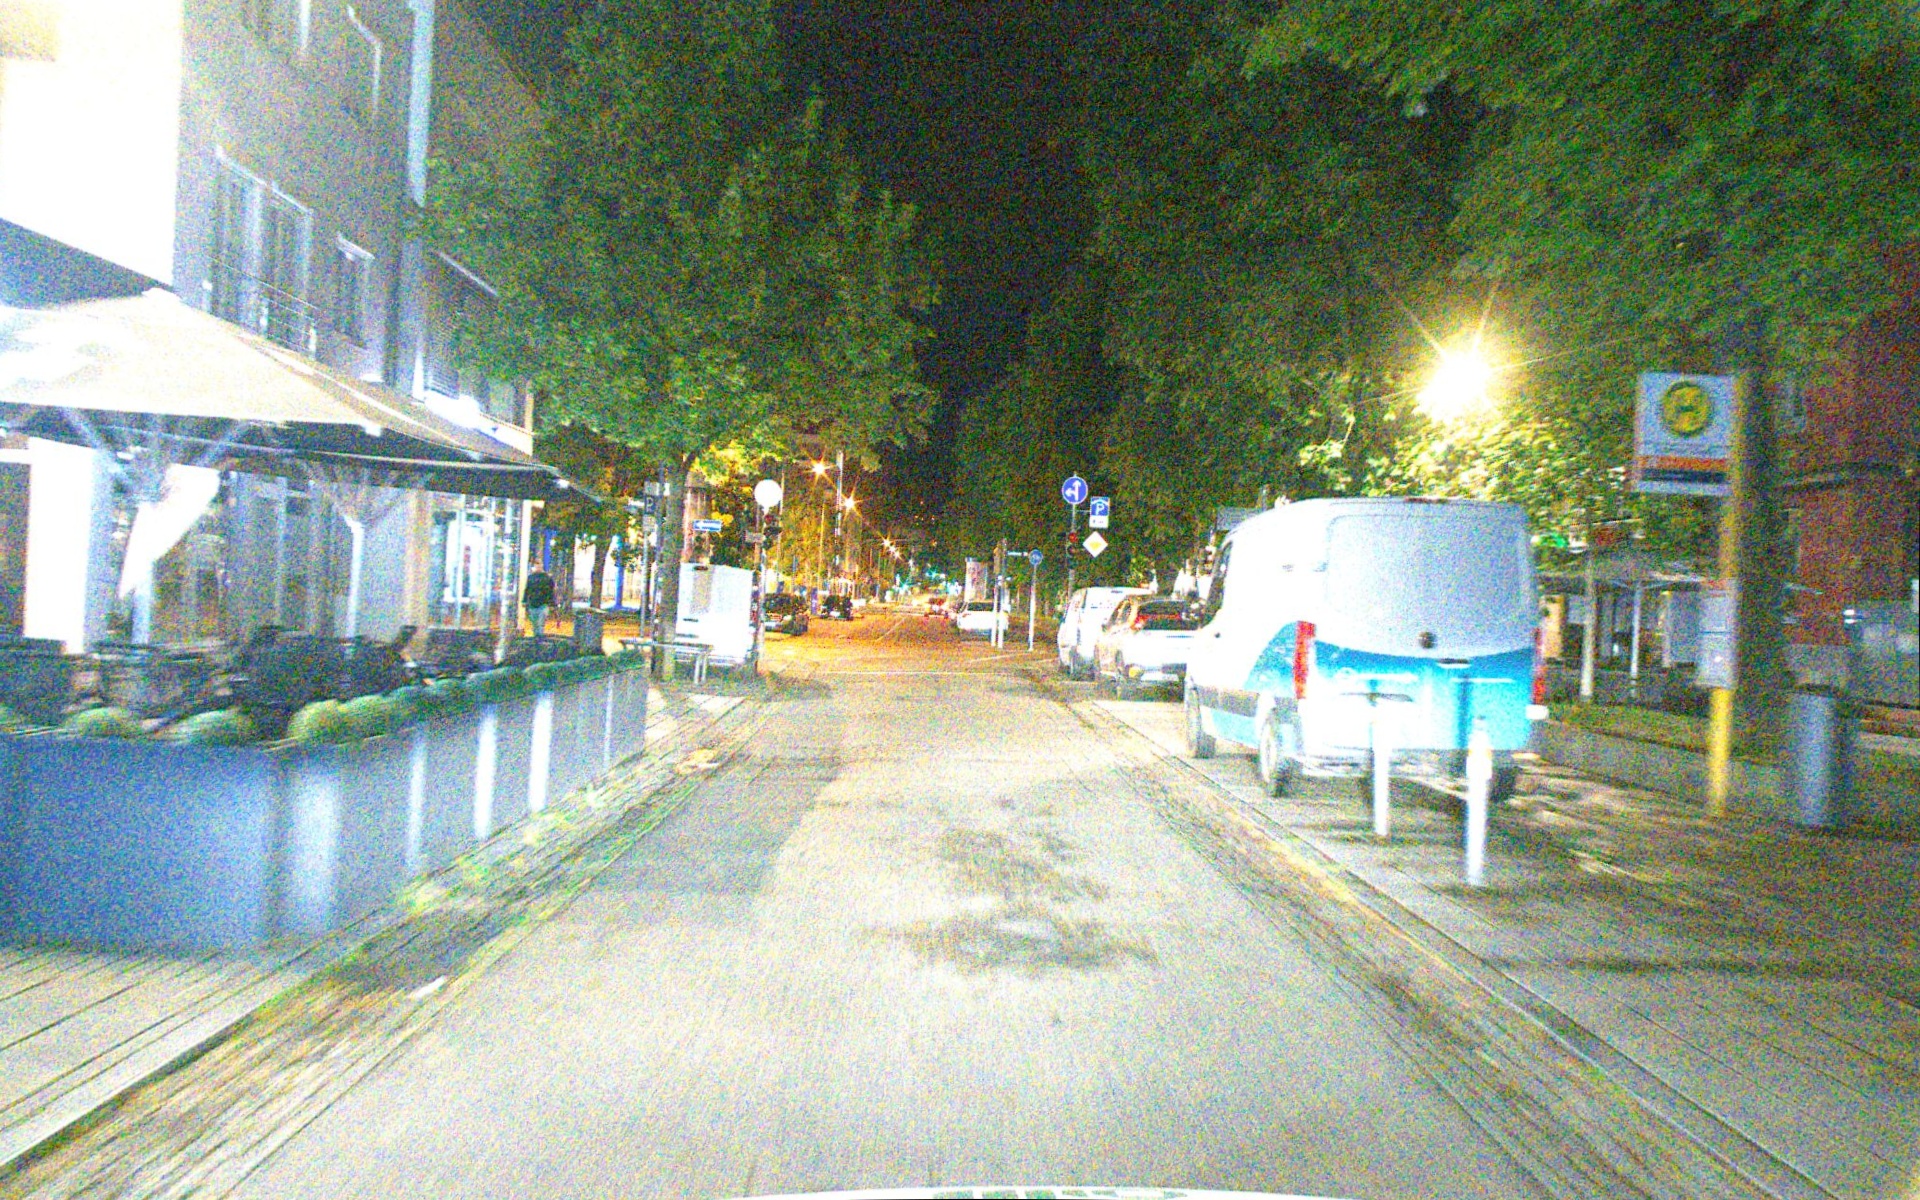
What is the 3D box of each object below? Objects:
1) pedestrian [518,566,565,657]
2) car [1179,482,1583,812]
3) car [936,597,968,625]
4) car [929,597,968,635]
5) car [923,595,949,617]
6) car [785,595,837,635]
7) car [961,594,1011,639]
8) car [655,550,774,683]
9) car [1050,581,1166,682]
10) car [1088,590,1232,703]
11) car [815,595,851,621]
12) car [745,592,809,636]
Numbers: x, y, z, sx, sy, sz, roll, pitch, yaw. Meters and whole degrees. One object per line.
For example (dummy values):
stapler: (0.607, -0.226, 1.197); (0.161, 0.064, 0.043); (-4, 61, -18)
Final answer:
pedestrian: (-8.268, 0.216, 32.722); (0.655, 1.749, 0.908); (2, 0, -1)
car: (3.456, 0.344, 14.781); (2.091, 2.367, 5.150); (2, 0, -2)
car: (-0.435, 0.611, 93.350); (1.728, 1.439, 4.807); (2, 0, 0)
car: (-0.520, 0.691, 73.764); (1.655, 1.563, 4.015); (2, 0, 0)
car: (-1.908, 0.472, 129.069); (1.953, 1.672, 3.999); (2, 0, -1)
car: (-6.073, 0.605, 67.658); (1.687, 1.453, 3.976); (4, 0, -1)
car: (0.939, 0.586, 60.928); (1.734, 1.563, 4.216); (1, 0, 0)
car: (-4.464, 0.269, 30.682); (1.817, 2.123, 5.084); (4, 0, -6)
car: (2.924, 0.589, 33.533); (1.753, 1.854, 4.578); (2, 0, -2)
car: (3.241, 0.707, 27.555); (1.650, 1.688, 4.295); (2, 0, -3)
car: (-7.598, 0.452, 99.286); (1.706, 1.438, 4.495); (3, 0, 0)
car: (-6.735, 0.487, 61.177); (1.770, 1.449, 4.920); (4, 0, -1)
